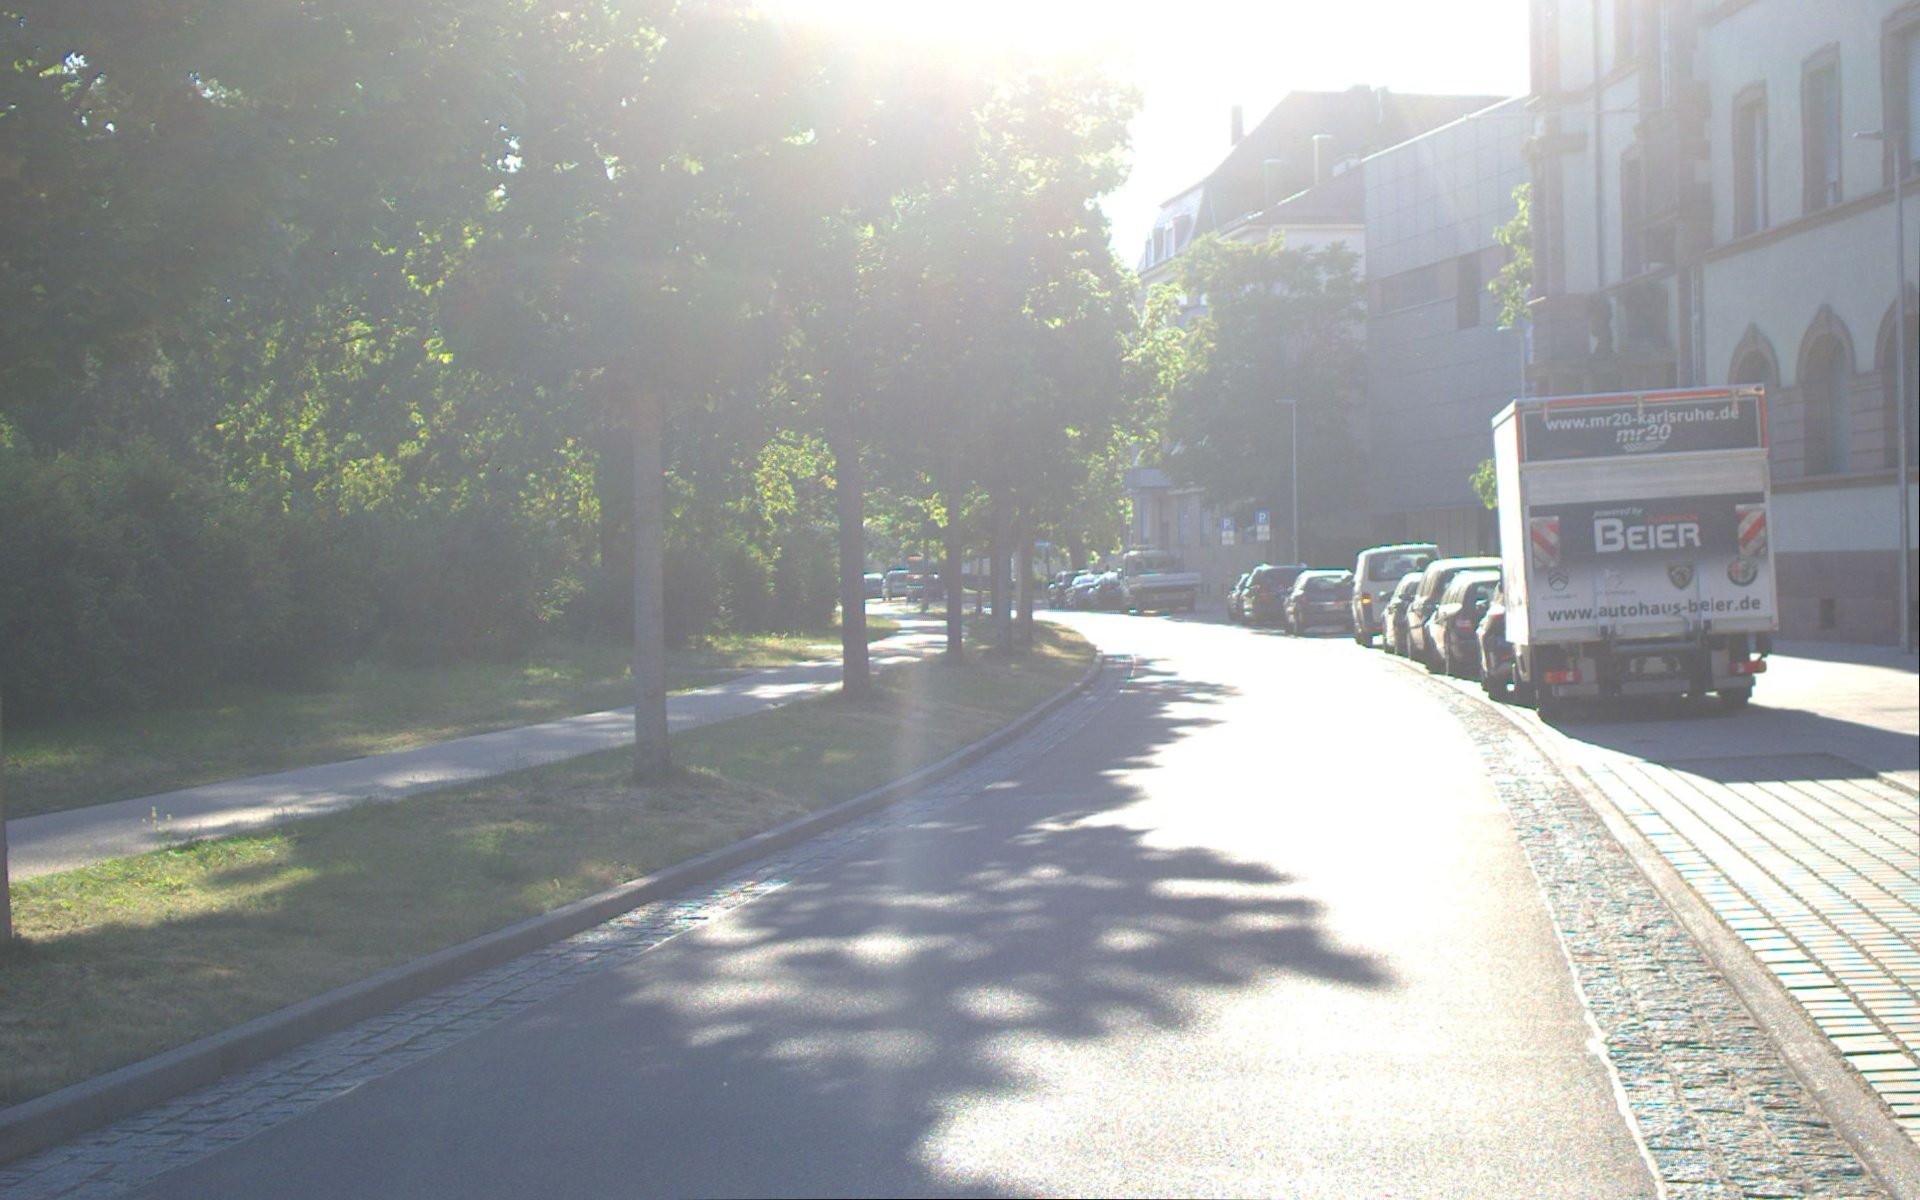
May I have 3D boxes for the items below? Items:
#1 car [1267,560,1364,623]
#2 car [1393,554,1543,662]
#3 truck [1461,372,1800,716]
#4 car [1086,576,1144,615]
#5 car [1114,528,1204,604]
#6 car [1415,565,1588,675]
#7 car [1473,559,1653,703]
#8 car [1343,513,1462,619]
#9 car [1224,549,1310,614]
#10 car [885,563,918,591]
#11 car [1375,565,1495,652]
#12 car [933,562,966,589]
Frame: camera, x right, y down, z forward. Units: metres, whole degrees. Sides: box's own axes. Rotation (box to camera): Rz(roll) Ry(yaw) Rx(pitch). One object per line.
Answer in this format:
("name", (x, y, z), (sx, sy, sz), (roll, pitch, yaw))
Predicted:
("car", (8.513, -0.215, 82.713), (1.747, 1.461, 4.478), (-1, 1, -2))
("car", (8.082, 0.101, 54.978), (1.816, 1.597, 4.192), (-2, 0, 1))
("truck", (6.619, -0.573, 34.710), (2.624, 3.110, 6.087), (-1, 1, 5))
("car", (6.005, -0.178, 133.277), (1.690, 1.435, 3.551), (-2, 1, -6))
("car", (7.021, -1.203, 121.944), (2.211, 2.521, 6.148), (-3, 1, -5))
("car", (7.709, 0.259, 49.283), (1.871, 1.431, 4.522), (-2, 0, 2))
("car", (7.006, 0.320, 40.286), (1.769, 1.525, 4.571), (-3, 0, 7))
("car", (9.048, -0.679, 70.655), (1.994, 1.959, 4.848), (-4, 0, 4))
("car", (8.291, -0.516, 93.135), (1.724, 1.663, 4.114), (-2, 1, -3))
("car", (-3.611, -1.403, 210.893), (1.793, 1.718, 4.001), (0, 1, -5))
("car", (8.285, 0.120, 60.235), (1.679, 1.398, 4.199), (-2, 0, 3))
("car", (-0.617, -1.394, 196.979), (1.793, 1.505, 4.000), (0, 1, -2))
